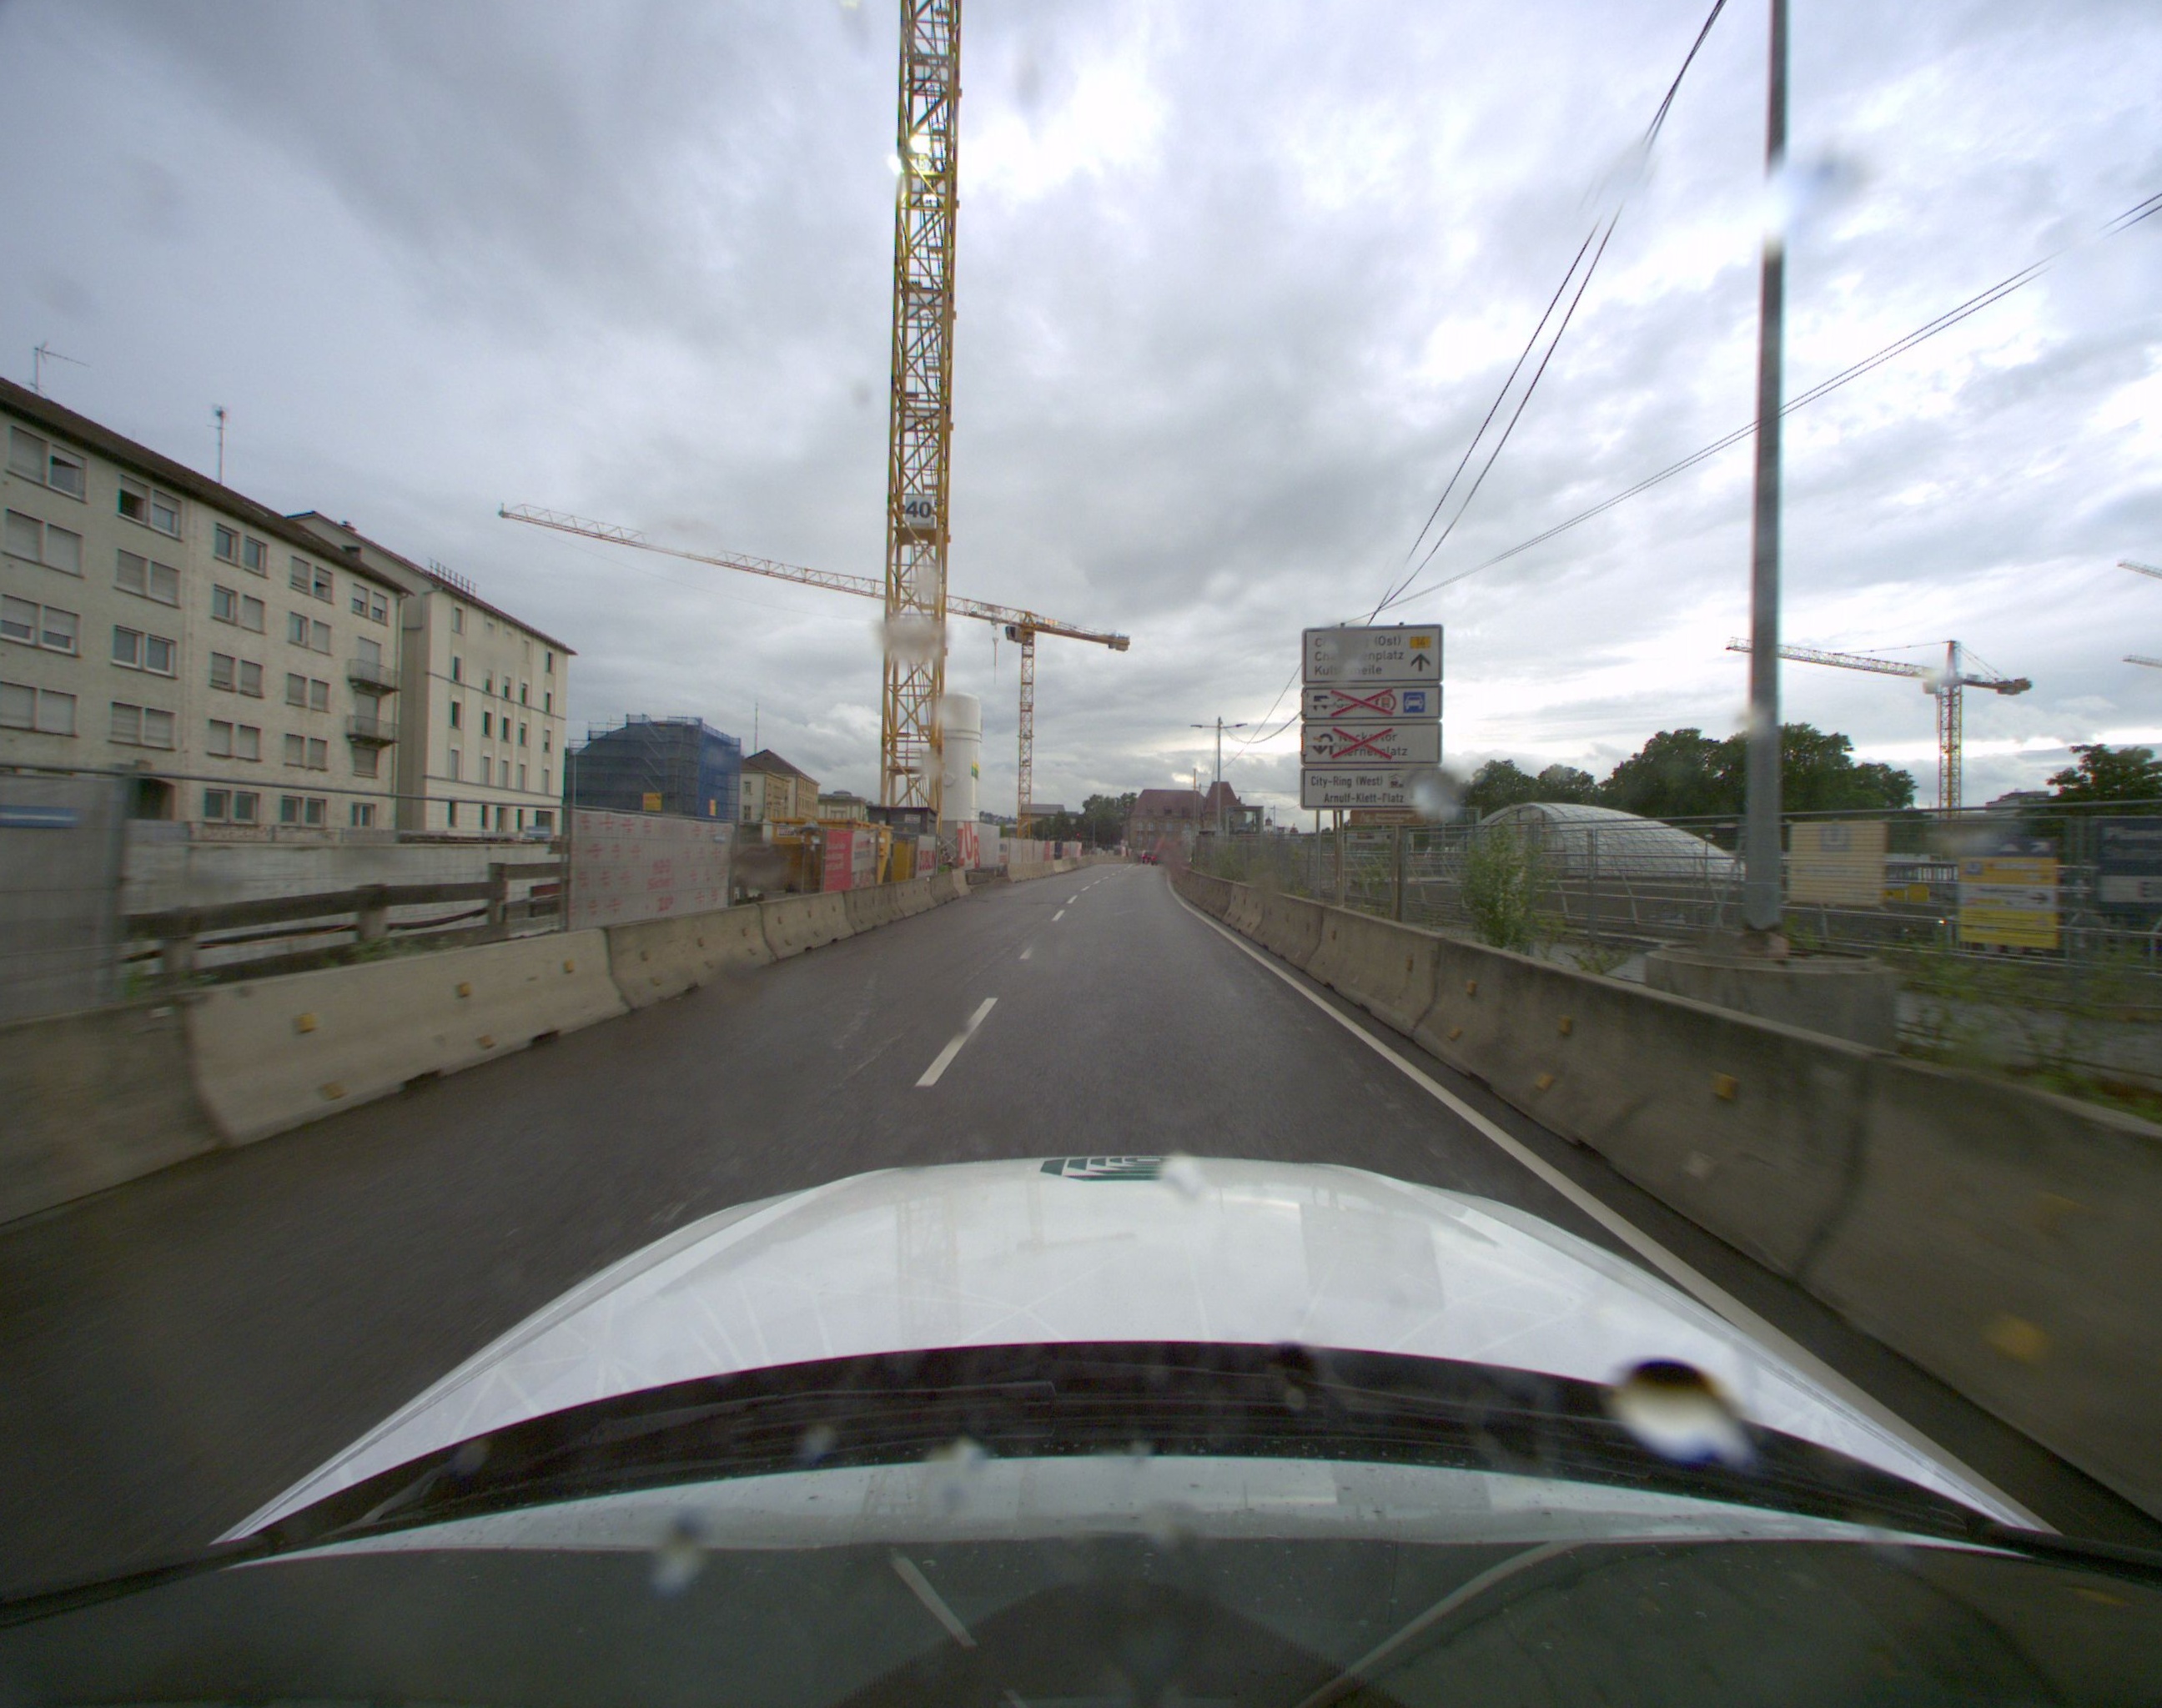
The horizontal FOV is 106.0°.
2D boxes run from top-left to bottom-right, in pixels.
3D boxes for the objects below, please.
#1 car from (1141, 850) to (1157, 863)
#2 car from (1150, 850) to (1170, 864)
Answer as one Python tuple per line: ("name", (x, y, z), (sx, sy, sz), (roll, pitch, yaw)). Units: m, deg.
("car", (8.845, 0.298, 105.630), (1.852, 1.660, 4.667), (1, 0, 8))
("car", (8.526, 0.325, 87.602), (1.851, 1.433, 4.668), (0, -1, 10))
